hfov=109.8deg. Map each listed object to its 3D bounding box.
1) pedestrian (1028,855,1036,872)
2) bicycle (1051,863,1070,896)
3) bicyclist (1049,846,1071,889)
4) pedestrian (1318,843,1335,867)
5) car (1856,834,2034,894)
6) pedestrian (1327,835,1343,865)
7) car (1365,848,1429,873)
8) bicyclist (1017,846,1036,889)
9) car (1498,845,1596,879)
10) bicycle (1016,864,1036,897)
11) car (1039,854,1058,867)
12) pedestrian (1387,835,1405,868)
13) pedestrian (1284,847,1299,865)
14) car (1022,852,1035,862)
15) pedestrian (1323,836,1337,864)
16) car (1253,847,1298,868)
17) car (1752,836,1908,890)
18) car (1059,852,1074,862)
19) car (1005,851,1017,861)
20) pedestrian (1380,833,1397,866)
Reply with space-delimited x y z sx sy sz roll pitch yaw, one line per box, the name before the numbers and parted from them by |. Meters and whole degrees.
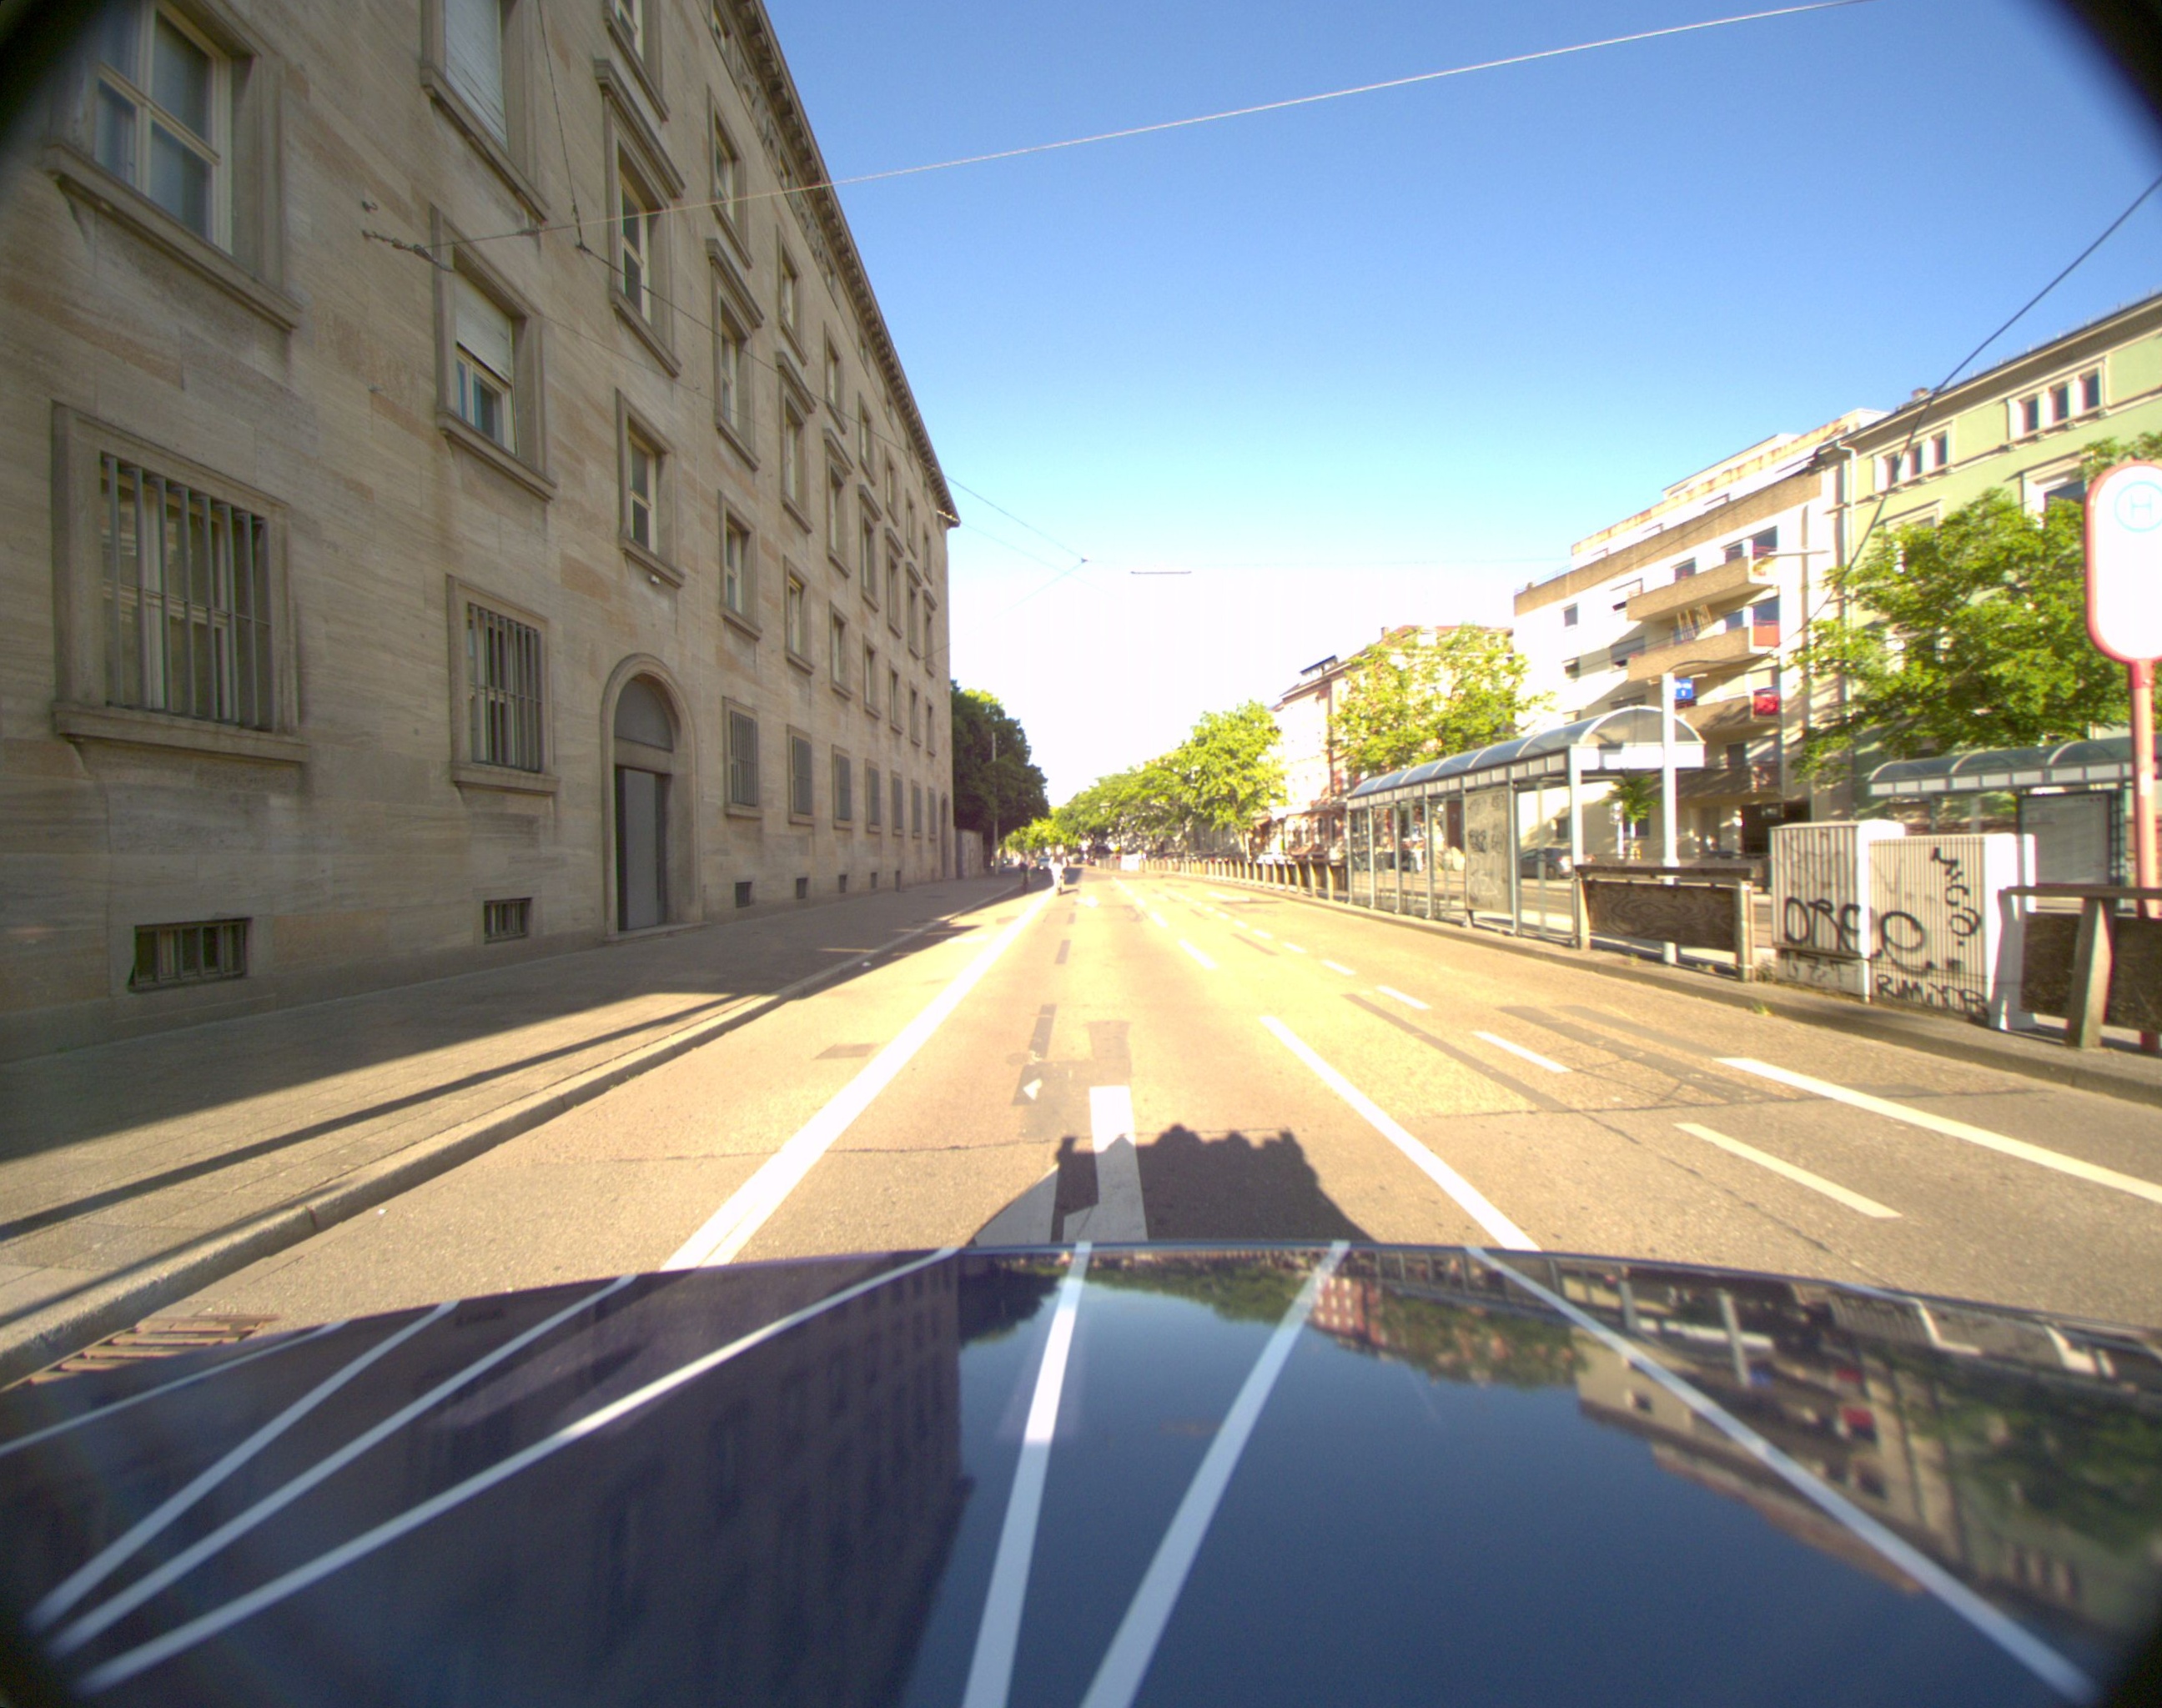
pedestrian | -3.803 0.737 58.948 0.548 1.327 0.587 -1 1 7
bicycle | -0.765 0.931 28.592 0.625 1.167 1.566 -3 0 1
bicyclist | -0.786 0.493 28.539 0.728 1.570 0.775 -3 1 1
pedestrian | 17.872 0.064 55.327 0.855 1.710 1.019 -1 1 -9
car | 24.803 0.260 21.841 4.002 1.573 1.761 -1 0 -14
pedestrian | 19.276 -0.301 57.653 0.813 2.194 0.756 -1 1 -10
car | 18.496 0.343 44.678 1.609 1.388 3.996 -1 0 -9
bicyclist | -2.236 0.535 30.998 0.625 1.729 0.688 -3 1 1
car | 20.878 0.342 34.204 1.654 1.419 3.737 -1 0 -11
bicycle | -2.216 1.057 30.831 0.625 1.214 1.659 -3 1 1
car | -3.724 0.740 86.504 1.772 1.429 3.831 -1 0 -9
pedestrian | 21.289 -0.167 51.355 0.813 2.194 0.756 -1 1 -10
pedestrian | 18.409 0.169 66.353 0.869 1.619 0.890 -1 1 -21
car | -10.671 0.609 154.716 2.001 1.789 3.995 -1 0 -13
pedestrian | 19.418 -0.324 59.219 0.812 2.194 0.756 -1 1 -4
car | 16.318 0.258 63.650 4.134 1.698 1.848 -1 1 -45
car | 24.004 0.262 24.382 4.002 1.573 1.761 -1 0 -14
car | -2.248 0.442 117.558 1.648 1.480 3.995 -2 1 -12
car | -14.369 0.311 156.169 2.000 2.002 3.996 -1 0 -10
pedestrian | 21.170 -0.314 52.345 0.813 2.194 0.756 -1 1 -10
